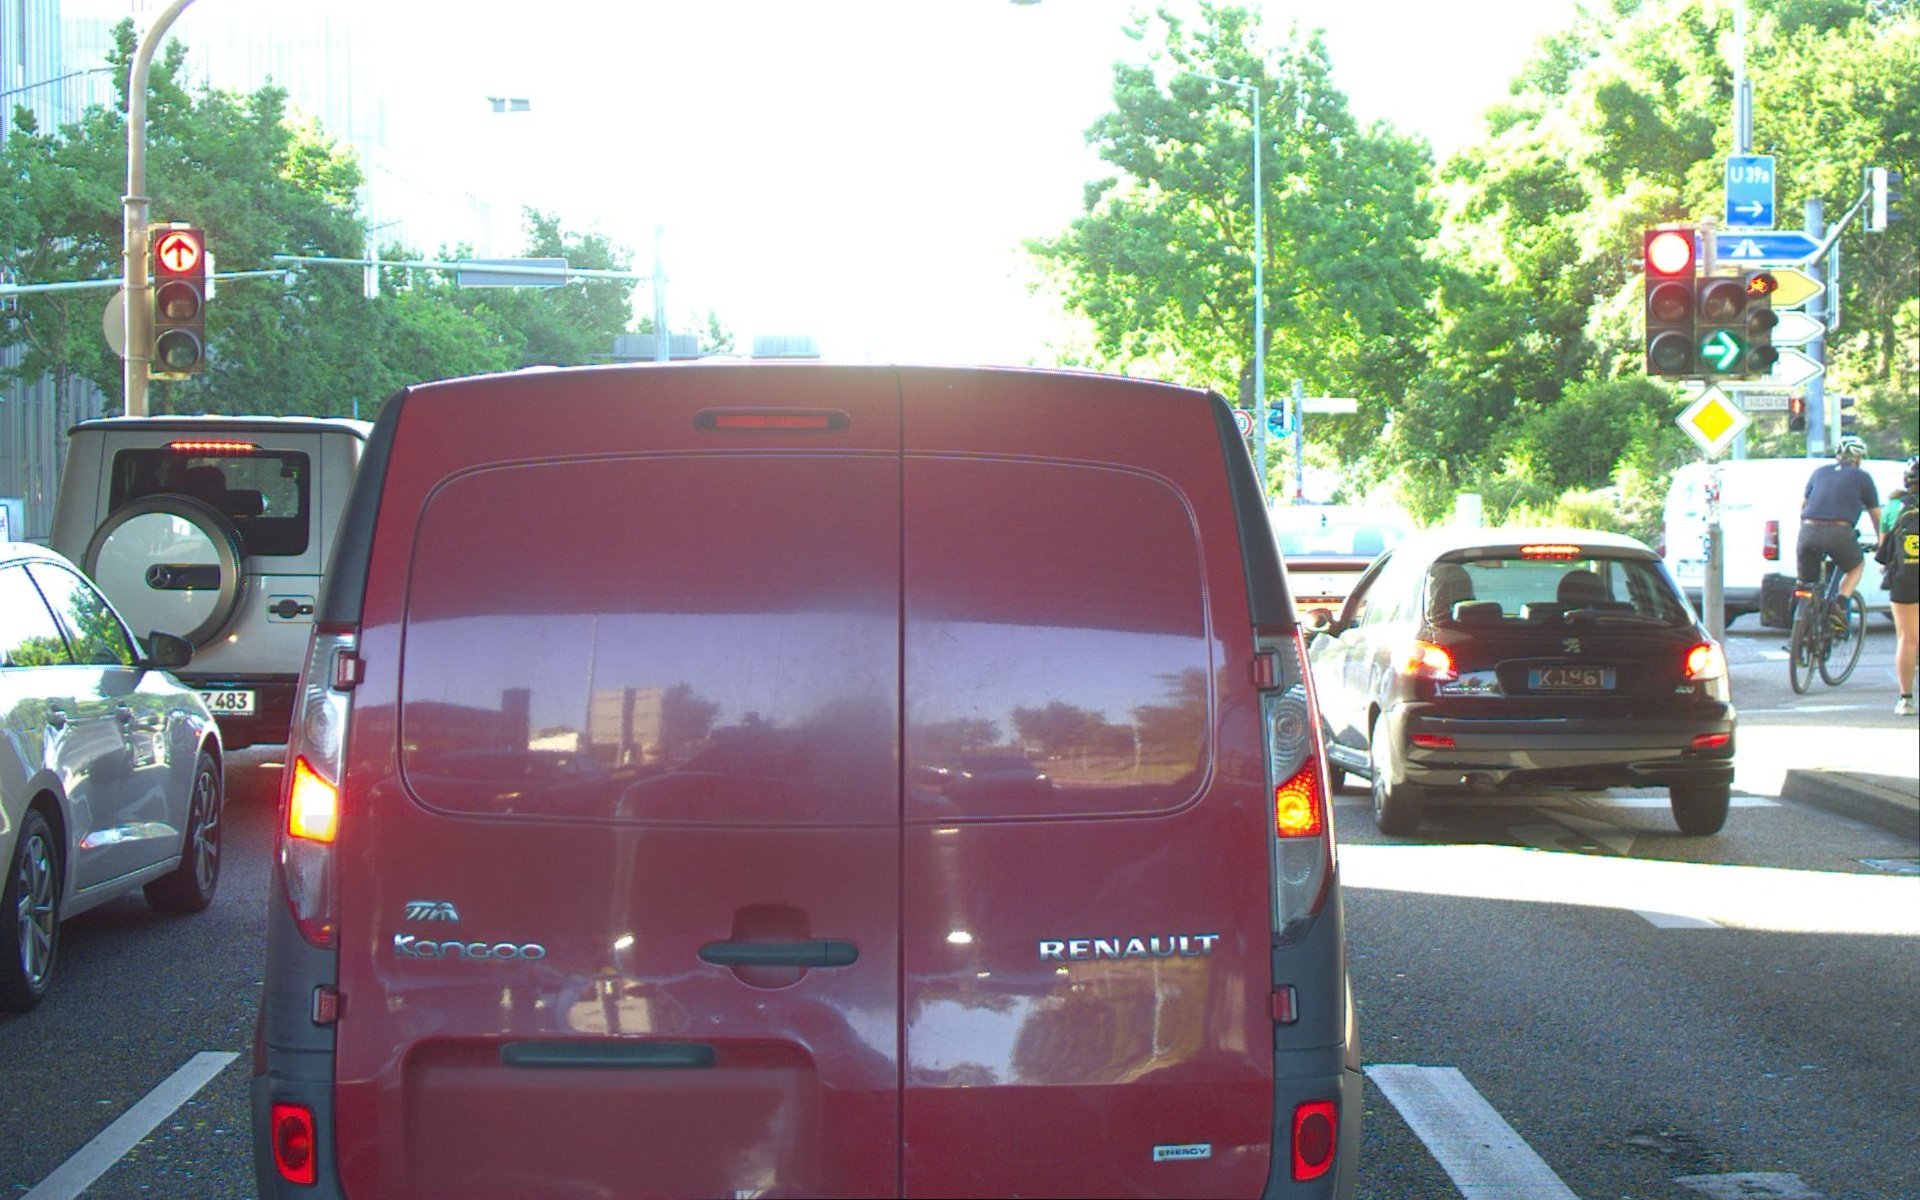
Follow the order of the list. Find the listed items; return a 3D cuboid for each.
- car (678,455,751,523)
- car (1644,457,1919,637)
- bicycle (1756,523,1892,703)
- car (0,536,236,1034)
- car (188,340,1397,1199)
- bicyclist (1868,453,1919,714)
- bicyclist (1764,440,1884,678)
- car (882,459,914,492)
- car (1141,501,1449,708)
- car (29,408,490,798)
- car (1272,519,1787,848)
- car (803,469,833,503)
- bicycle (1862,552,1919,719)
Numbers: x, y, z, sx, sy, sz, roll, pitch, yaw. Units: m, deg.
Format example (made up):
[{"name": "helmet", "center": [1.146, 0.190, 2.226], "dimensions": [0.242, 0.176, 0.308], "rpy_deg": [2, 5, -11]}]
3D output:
[{"name": "car", "center": [-7.663, -3.447, 107.463], "dimensions": [1.993, 2.007, 4.000], "rpy_deg": [1, 1, -1]}, {"name": "car", "center": [9.545, -0.620, 36.868], "dimensions": [4.286, 1.827, 1.819], "rpy_deg": [-2, 3, -34]}, {"name": "bicycle", "center": [6.146, 0.064, 24.361], "dimensions": [0.766, 1.142, 2.468], "rpy_deg": [-1, 2, 17]}, {"name": "car", "center": [-3.626, 0.493, 11.478], "dimensions": [1.692, 1.405, 3.814], "rpy_deg": [1, 1, -1]}, {"name": "car", "center": [-0.266, 0.477, 6.936], "dimensions": [1.719, 1.758, 4.000], "rpy_deg": [1, 1, -1]}, {"name": "bicyclist", "center": [6.121, -0.103, 21.694], "dimensions": [0.677, 1.623, 0.644], "rpy_deg": [1, 0, 10]}, {"name": "bicyclist", "center": [6.152, -0.295, 24.448], "dimensions": [0.747, 1.650, 0.885], "rpy_deg": [1, 1, 17]}, {"name": "car", "center": [-3.979, -7.969, 220.664], "dimensions": [1.993, 2.007, 4.000], "rpy_deg": [1, 1, -1]}, {"name": "car", "center": [2.506, -0.017, 26.779], "dimensions": [1.745, 1.451, 4.665], "rpy_deg": [1, 1, -2]}, {"name": "car", "center": [-3.711, -0.023, 18.843], "dimensions": [1.813, 1.897, 3.814], "rpy_deg": [1, 1, -1]}, {"name": "car", "center": [2.712, 0.335, 17.189], "dimensions": [1.745, 1.451, 3.717], "rpy_deg": [1, 1, -3]}, {"name": "car", "center": [-8.921, -7.166, 216.211], "dimensions": [1.748, 2.007, 3.845], "rpy_deg": [1, 1, -1]}, {"name": "bicycle", "center": [6.120, 0.215, 21.715], "dimensions": [0.677, 1.020, 1.528], "rpy_deg": [1, 1, 10]}]
